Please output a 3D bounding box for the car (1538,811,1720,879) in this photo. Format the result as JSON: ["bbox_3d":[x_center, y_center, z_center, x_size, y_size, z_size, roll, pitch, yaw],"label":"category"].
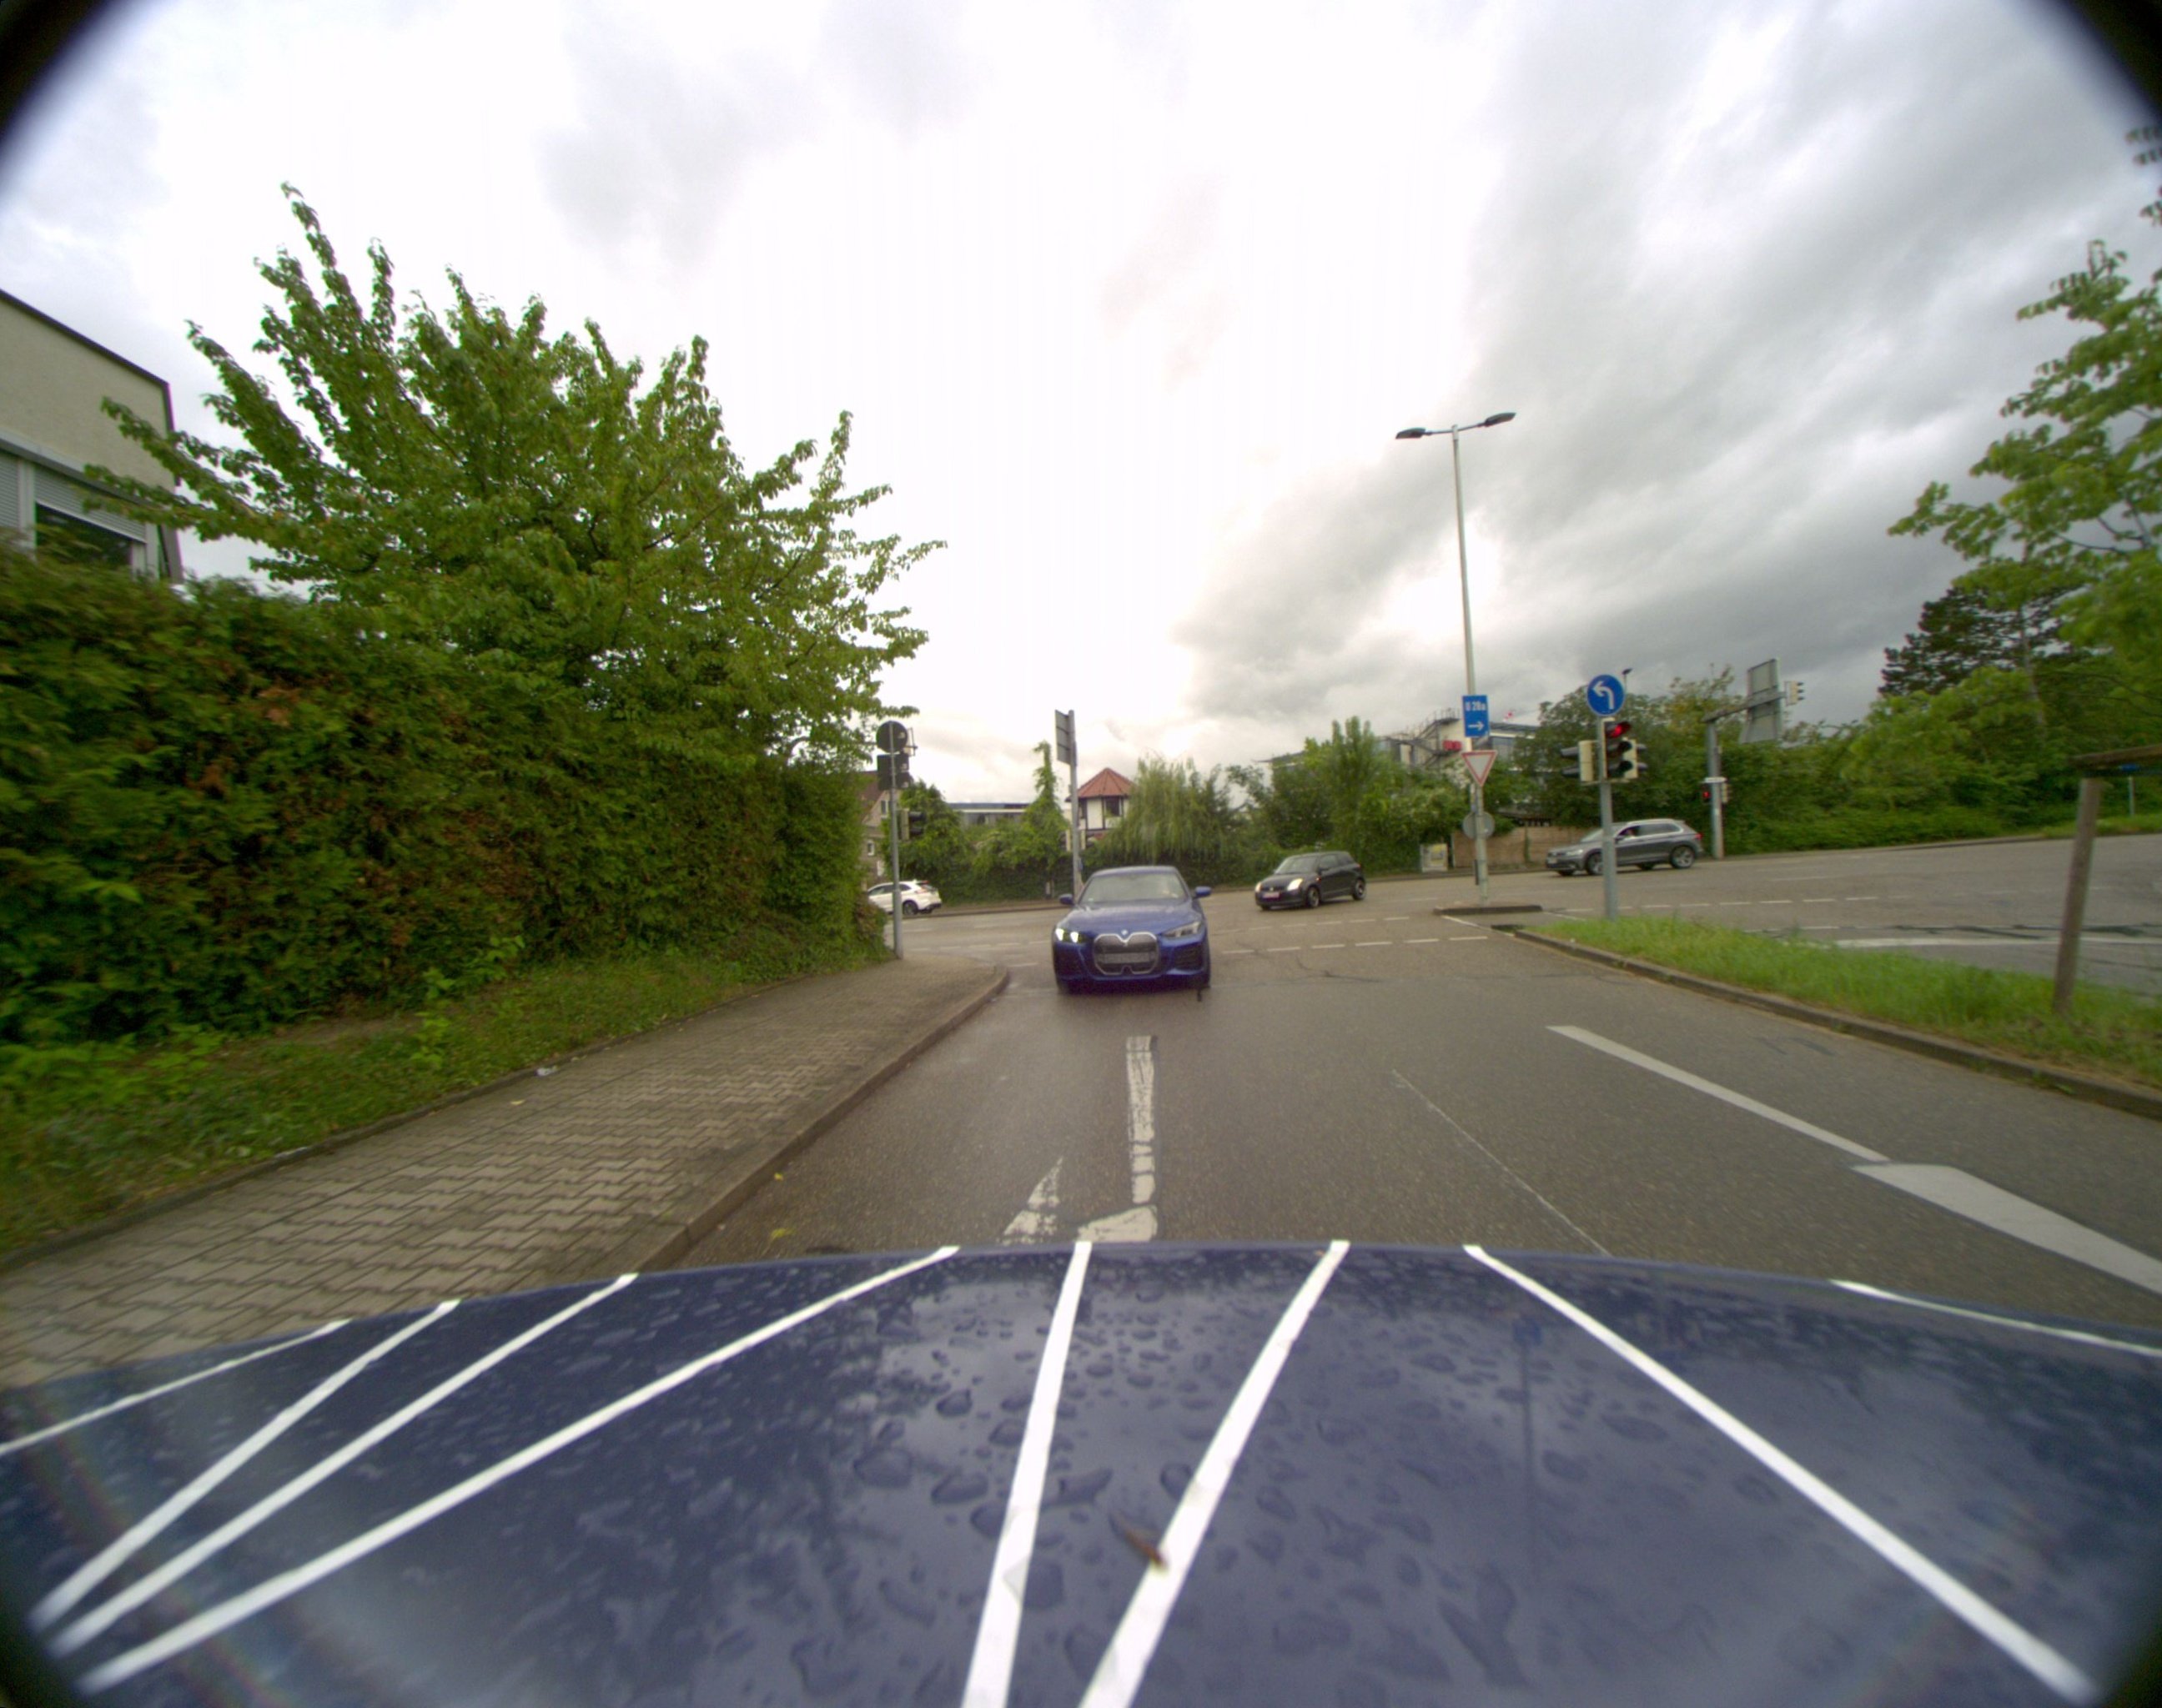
[{"bbox_3d":[17.773,-0.265,24.842,4.302,1.739,1.970,-5,-1,6],"label":"car"}]

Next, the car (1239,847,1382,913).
[{"bbox_3d":[6.604,0.719,21.719,4.006,1.510,1.744,-4,-1,-36],"label":"car"}]

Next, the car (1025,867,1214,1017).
[{"bbox_3d":[0.528,0.997,10.301,1.913,1.486,4.351,-4,-2,3],"label":"car"}]

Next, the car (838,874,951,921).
[{"bbox_3d":[-8.797,2.056,36.071,4.671,1.779,2.002,-5,-1,11],"label":"car"}]
